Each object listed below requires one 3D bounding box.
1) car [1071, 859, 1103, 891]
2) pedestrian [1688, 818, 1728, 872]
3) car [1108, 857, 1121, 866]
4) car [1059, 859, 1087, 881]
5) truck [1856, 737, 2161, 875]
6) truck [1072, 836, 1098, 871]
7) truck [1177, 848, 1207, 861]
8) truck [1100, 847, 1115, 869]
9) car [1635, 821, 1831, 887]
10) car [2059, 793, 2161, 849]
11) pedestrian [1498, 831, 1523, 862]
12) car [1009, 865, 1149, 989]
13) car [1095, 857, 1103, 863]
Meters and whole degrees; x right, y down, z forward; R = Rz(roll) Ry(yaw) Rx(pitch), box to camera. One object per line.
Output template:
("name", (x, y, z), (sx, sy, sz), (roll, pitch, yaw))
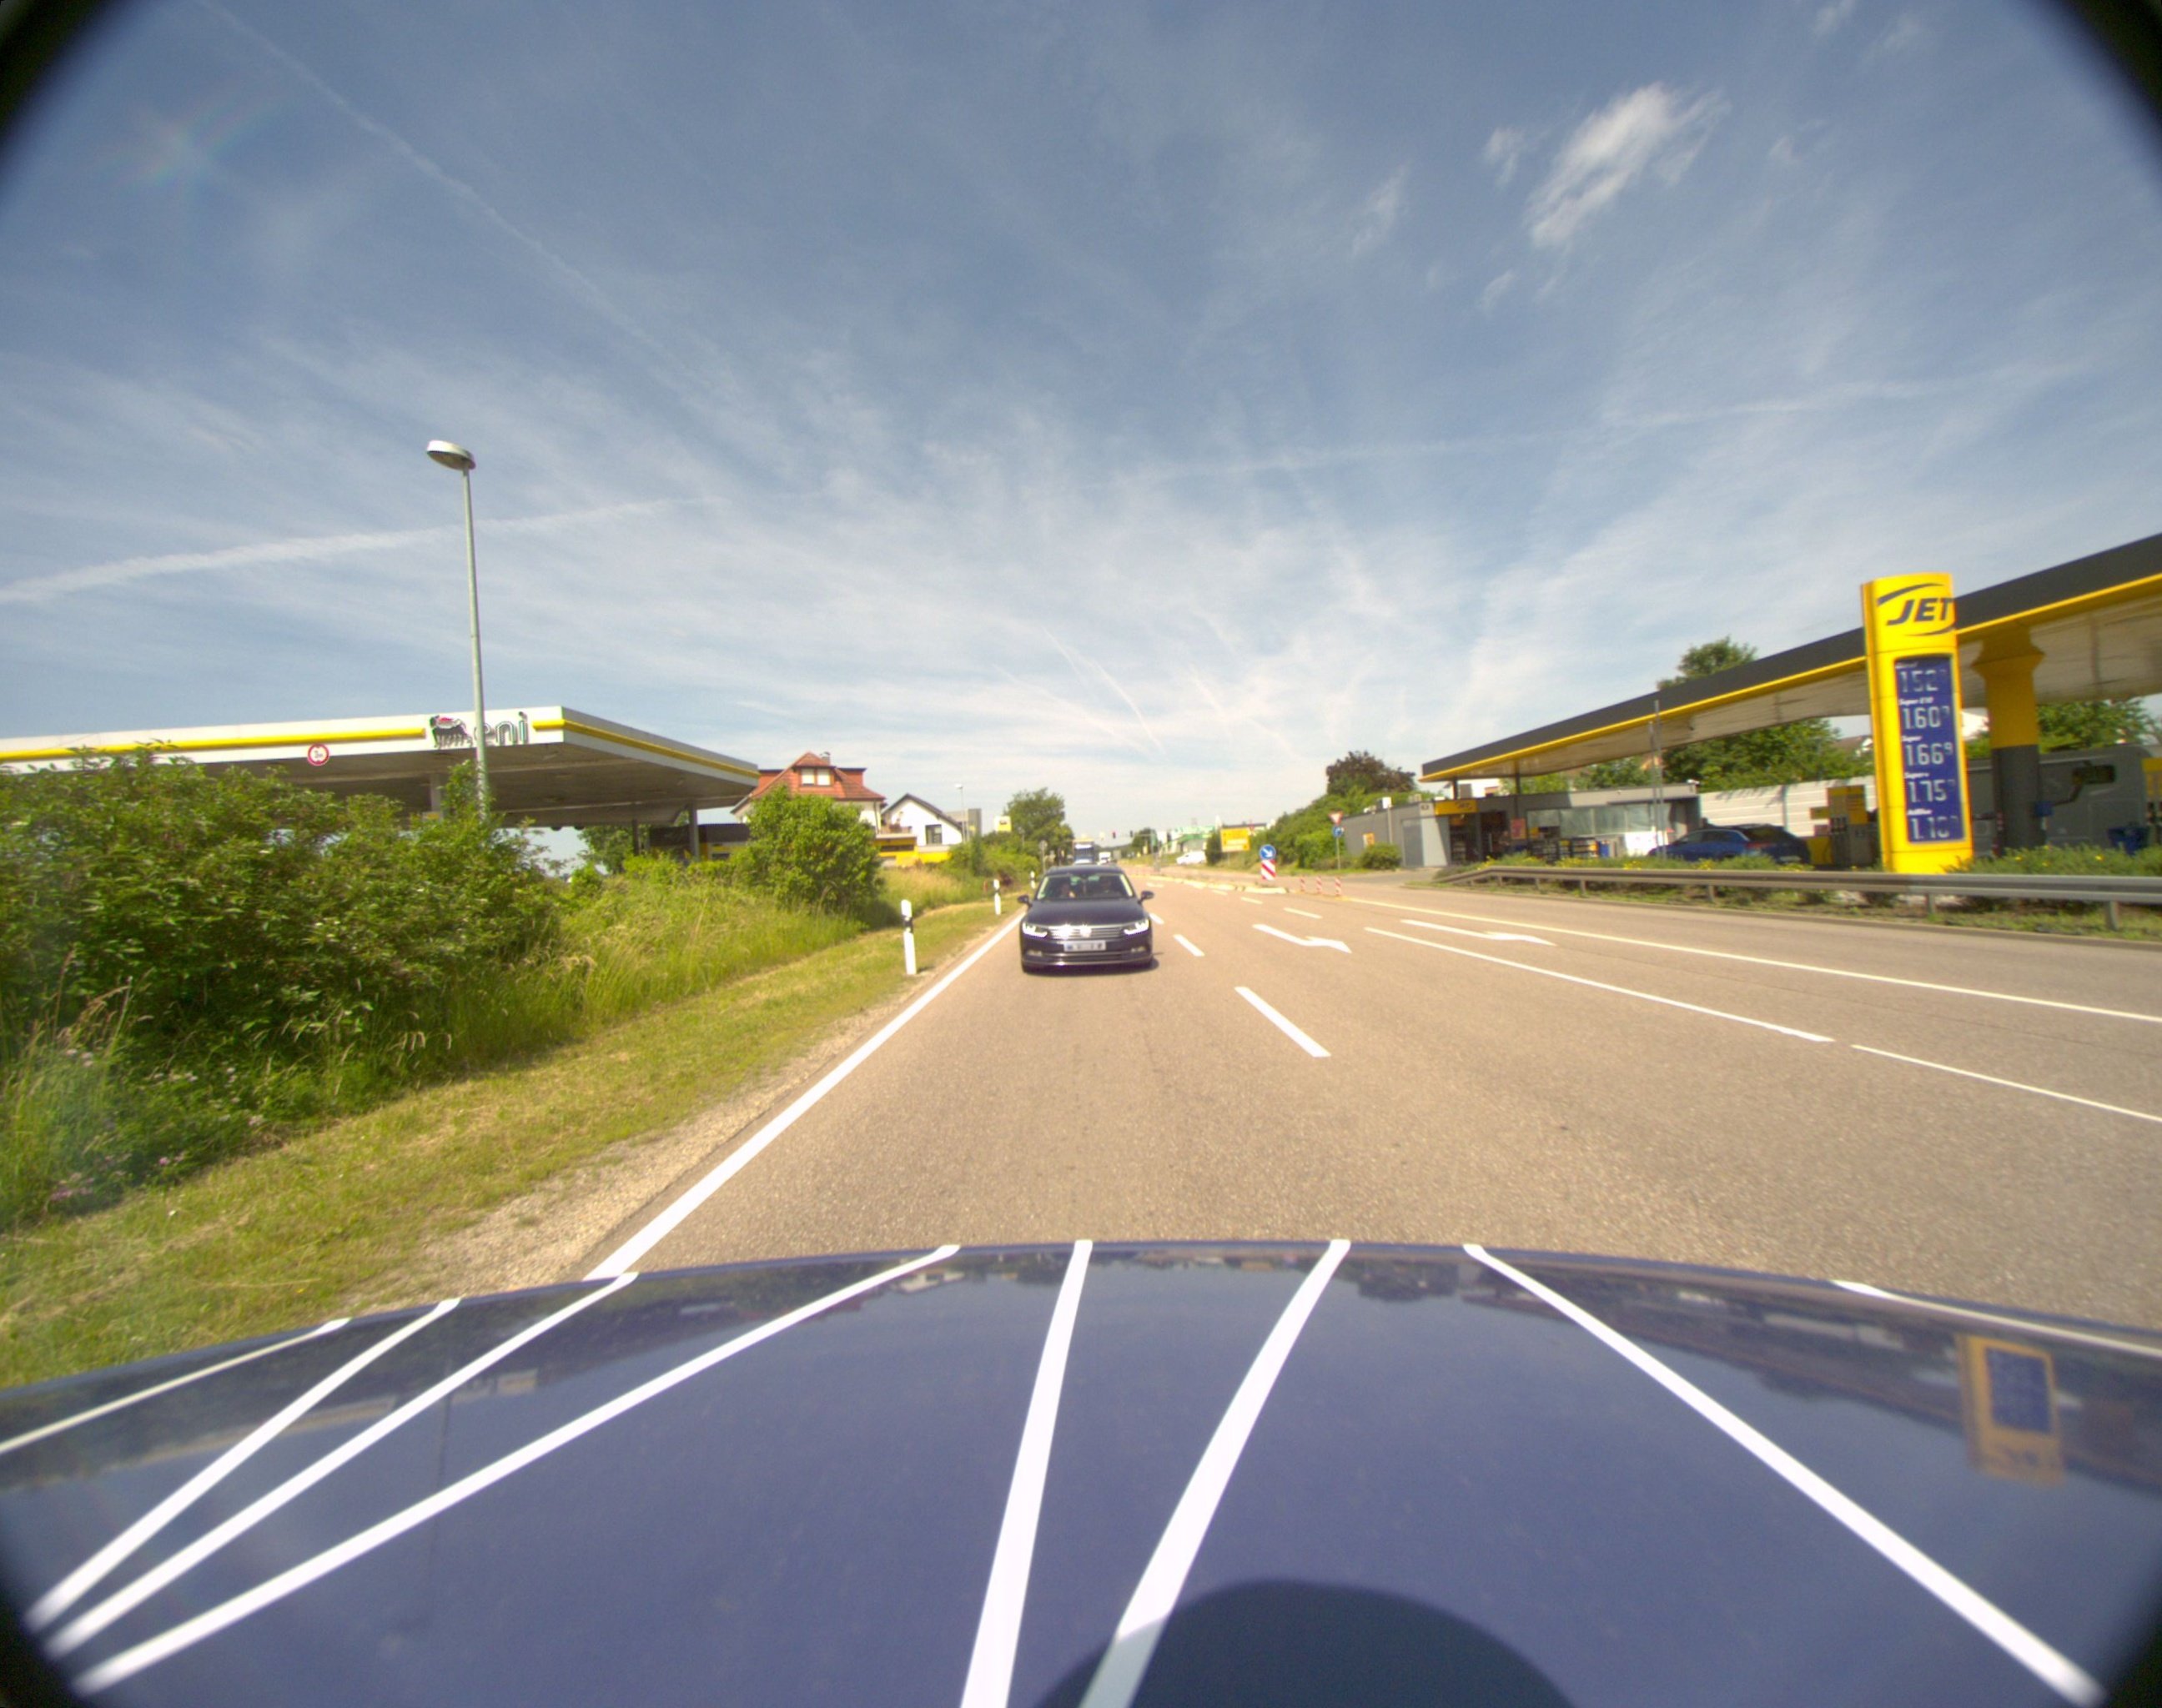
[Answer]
("car", (0.318, 1.033, 38.334), (1.471, 1.450, 3.797), (-2, 0, 1))
("pedestrian", (22.093, -0.309, 26.767), (0.798, 1.827, 0.640), (-3, 0, 2))
("car", (4.972, 1.110, 111.784), (1.786, 1.210, 4.001), (-3, 0, 2))
("car", (-0.545, 1.115, 54.662), (1.814, 1.466, 3.974), (-2, 0, 2))
("truck", (23.822, -1.075, 19.080), (2.250, 2.906, 6.283), (-3, 1, 0))
("truck", (0.613, -0.103, 95.851), (2.855, 3.999, 12.917), (-2, 0, 1))
("truck", (19.615, 0.013, 134.582), (4.773, 1.997, 1.999), (-3, 0, -4))
("truck", (5.275, 0.794, 152.927), (2.855, 3.999, 12.917), (-2, 0, 1))
("car", (19.043, 0.023, 22.501), (1.999, 1.696, 4.264), (-2, 0, -2))
("car", (32.192, -1.007, 22.314), (1.753, 1.603, 3.873), (-2, 0, -9))
("pedestrian", (20.392, -0.349, 36.066), (0.913, 1.419, 0.495), (-2, 1, 16))
("car", (0.032, 0.981, 12.287), (1.756, 1.493, 4.925), (-2, 0, 1))
("car", (4.843, 1.539, 207.405), (1.847, 1.477, 4.001), (-3, 0, 4))
